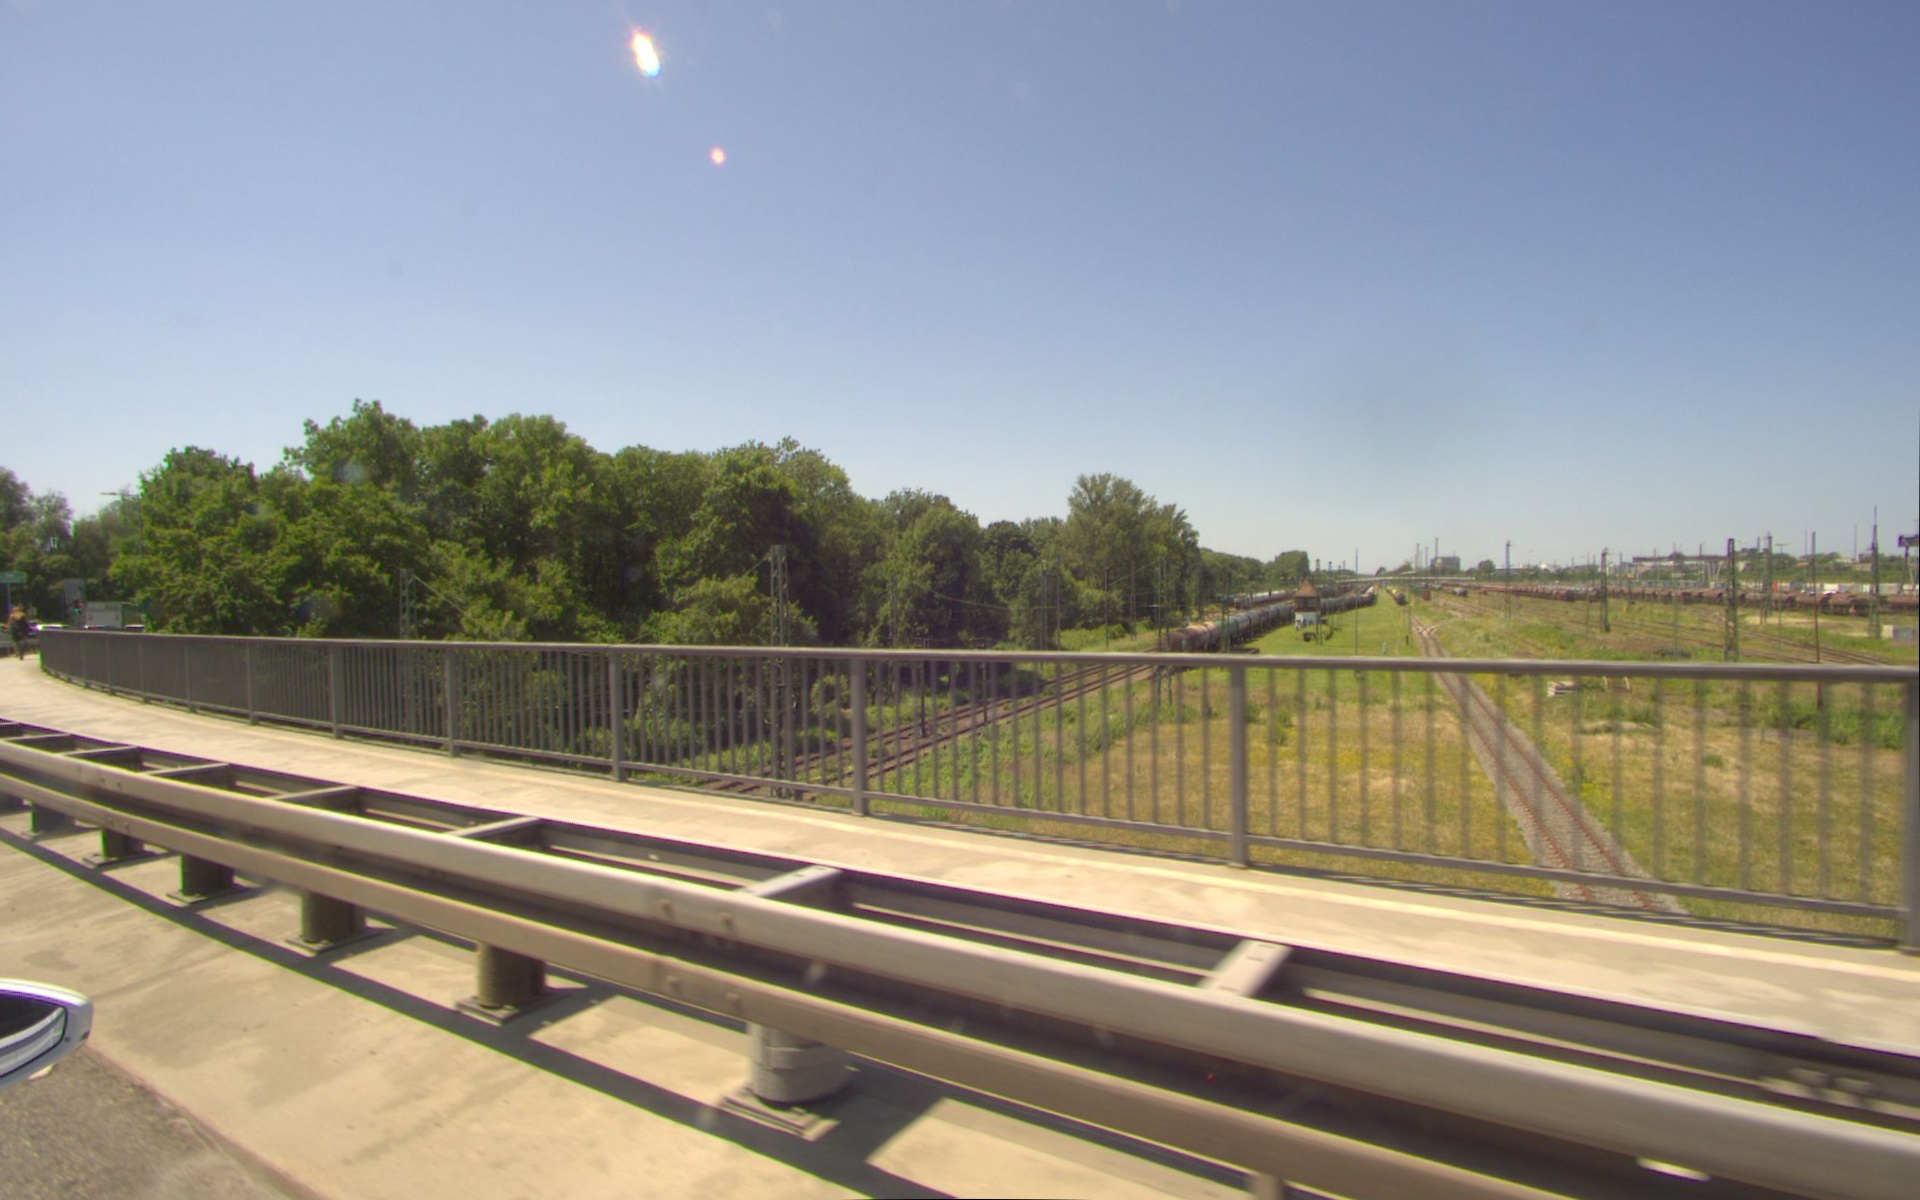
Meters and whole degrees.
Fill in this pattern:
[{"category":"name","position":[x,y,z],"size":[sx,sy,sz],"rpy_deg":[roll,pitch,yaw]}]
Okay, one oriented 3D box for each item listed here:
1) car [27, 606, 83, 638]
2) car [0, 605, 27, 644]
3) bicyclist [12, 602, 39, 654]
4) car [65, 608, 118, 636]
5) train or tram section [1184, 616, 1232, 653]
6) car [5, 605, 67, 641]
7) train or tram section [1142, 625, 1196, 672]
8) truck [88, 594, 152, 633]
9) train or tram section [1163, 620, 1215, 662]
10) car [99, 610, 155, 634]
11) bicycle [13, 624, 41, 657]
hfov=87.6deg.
[{"category":"car","position":[-53.388,1.290,59.160],"size":[1.702,1.868,3.978],"rpy_deg":[1,-1,-31]},{"category":"car","position":[-45.649,1.133,47.223],"size":[1.703,1.826,3.976],"rpy_deg":[1,-1,-32]},{"category":"bicyclist","position":[-31.689,0.945,33.972],"size":[0.573,1.705,0.723],"rpy_deg":[-3,2,-41]},{"category":"car","position":[-56.889,1.485,65.621],"size":[1.665,1.783,3.984],"rpy_deg":[1,-2,-27]},{"category":"train or tram section","position":[34.293,4.648,138.047],"size":[3.789,4.366,13.583],"rpy_deg":[-2,1,25]},{"category":"car","position":[-49.988,1.238,54.234],"size":[1.702,1.868,3.978],"rpy_deg":[1,-1,-31]},{"category":"train or tram section","position":[23.740,5.351,112.989],"size":[3.786,4.366,13.596],"rpy_deg":[-2,1,21]},{"category":"truck","position":[-65.596,1.036,78.325],"size":[2.305,2.911,5.919],"rpy_deg":[1,-1,-25]},{"category":"train or tram section","position":[28.856,5.006,125.627],"size":[3.788,4.366,13.585],"rpy_deg":[-2,1,24]},{"category":"car","position":[-59.866,1.617,72.044],"size":[1.968,1.594,3.989],"rpy_deg":[2,-4,-24]},{"category":"bicycle","position":[-31.690,1.356,34.013],"size":[0.577,1.049,1.472],"rpy_deg":[-3,1,-41]}]
